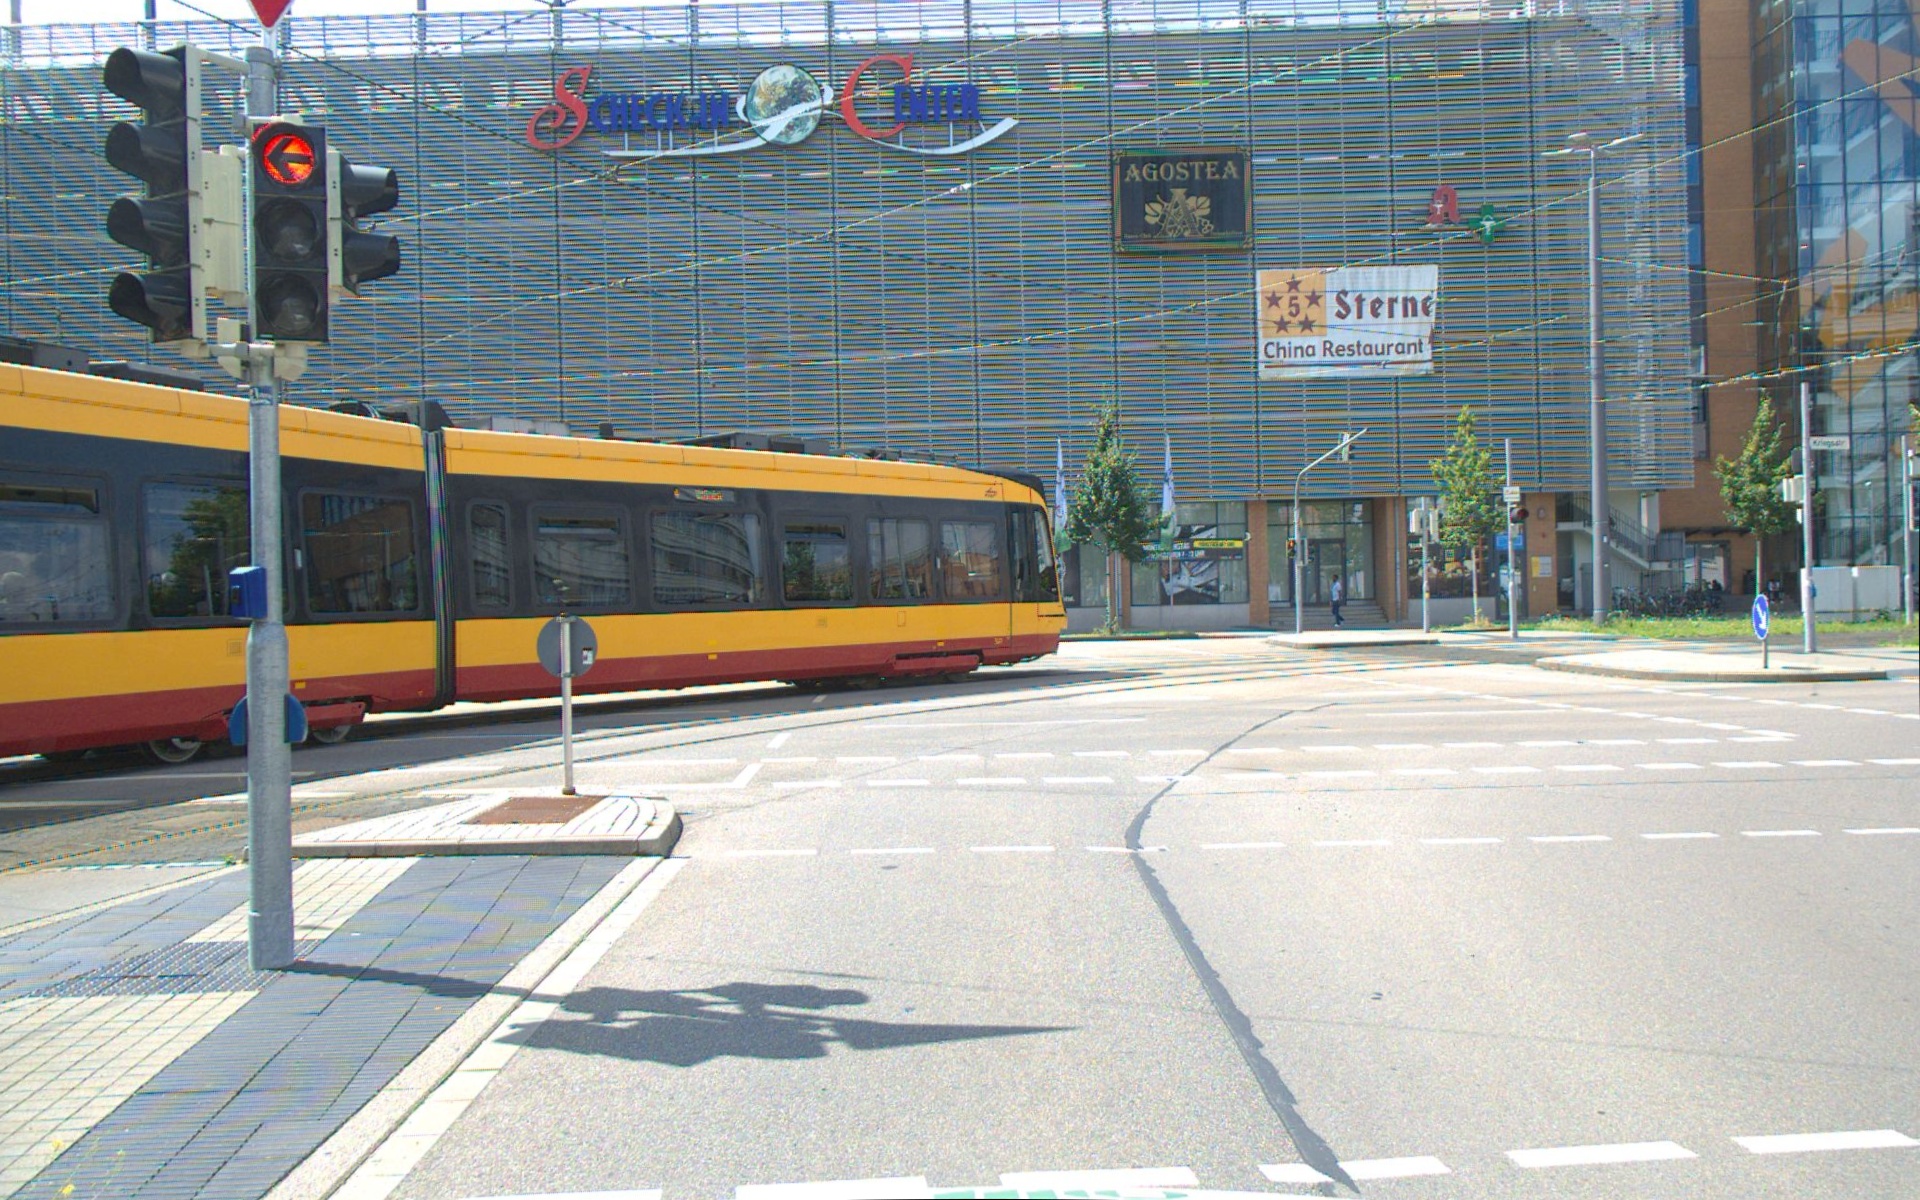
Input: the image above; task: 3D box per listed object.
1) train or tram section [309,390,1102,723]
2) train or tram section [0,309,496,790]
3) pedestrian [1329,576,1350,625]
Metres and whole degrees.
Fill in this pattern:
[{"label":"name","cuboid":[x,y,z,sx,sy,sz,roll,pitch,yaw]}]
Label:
[{"label":"train or tram section","cuboid":[-2.782,-0.618,24.129,3.008,3.684,12.573,-2,0,39]},{"label":"train or tram section","cuboid":[-8.442,-0.354,13.928,2.991,3.666,10.998,-2,0,18]},{"label":"pedestrian","cuboid":[13.636,0.012,59.411,0.605,1.776,0.629,0,0,1]}]
